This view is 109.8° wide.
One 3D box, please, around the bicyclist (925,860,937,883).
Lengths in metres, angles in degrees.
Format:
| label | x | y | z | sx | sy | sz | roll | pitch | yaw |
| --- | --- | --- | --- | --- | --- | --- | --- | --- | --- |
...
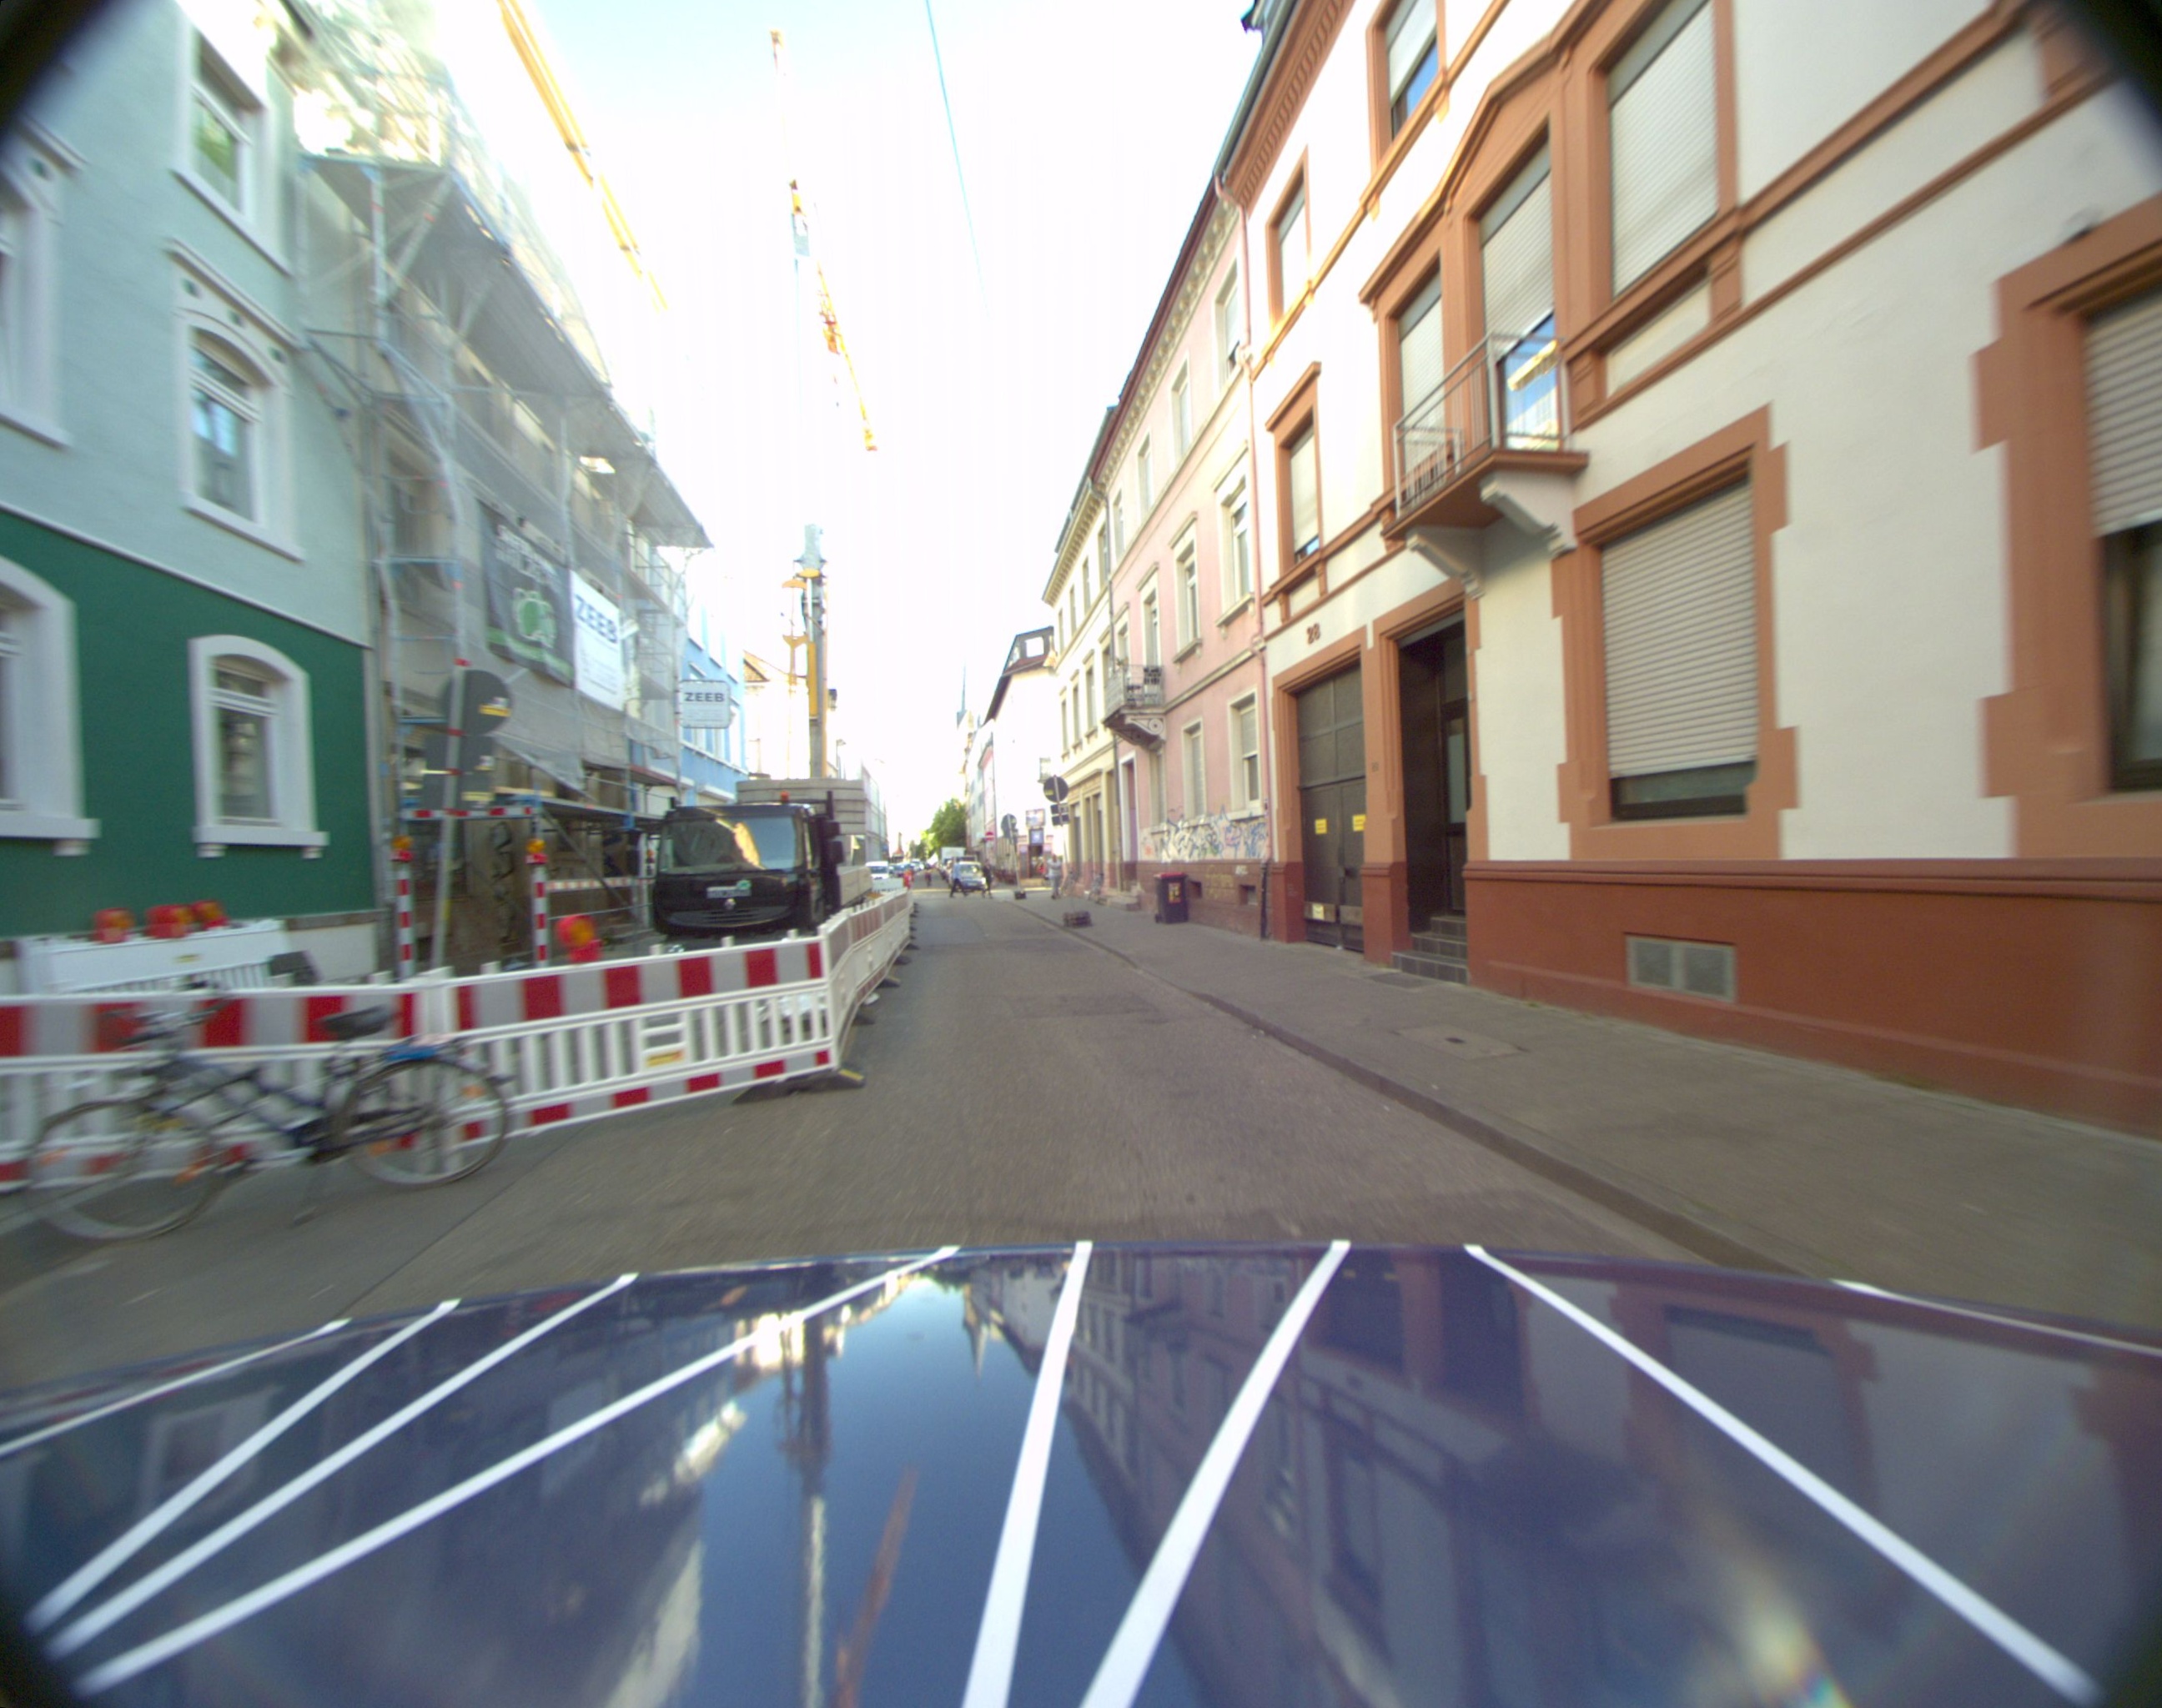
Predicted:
| label | x | y | z | sx | sy | sz | roll | pitch | yaw |
| --- | --- | --- | --- | --- | --- | --- | --- | --- | --- |
| bicyclist | -9.867 | 1.134 | 49.969 | 0.710 | 1.427 | 0.789 | -2 | 1 | -9 |

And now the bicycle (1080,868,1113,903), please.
| label | x | y | z | sx | sy | sz | roll | pitch | yaw |
| --- | --- | --- | --- | --- | --- | --- | --- | --- | --- |
| bicycle | 0.471 | 0.982 | 24.174 | 0.624 | 1.016 | 1.816 | -3 | 0 | -10 |

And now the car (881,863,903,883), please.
| label | x | y | z | sx | sy | sz | roll | pitch | yaw |
| --- | --- | --- | --- | --- | --- | --- | --- | --- | --- |
| car | -15.972 | 1.586 | 64.256 | 1.622 | 1.495 | 3.768 | -1 | 0 | -11 |

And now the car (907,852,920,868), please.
| label | x | y | z | sx | sy | sz | roll | pitch | yaw |
| --- | --- | --- | --- | --- | --- | --- | --- | --- | --- |
| car | -31.013 | 1.093 | 140.798 | 2.001 | 2.777 | 4.558 | -4 | 1 | -14 |

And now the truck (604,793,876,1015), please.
| label | x | y | z | sx | sy | sz | roll | pitch | yaw |
| --- | --- | --- | --- | --- | --- | --- | --- | --- | --- |
| truck | -5.499 | 0.629 | 13.826 | 2.670 | 2.798 | 7.386 | -3 | 1 | -10 |

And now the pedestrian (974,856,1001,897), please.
| label | x | y | z | sx | sy | sz | roll | pitch | yaw |
| --- | --- | --- | --- | --- | --- | --- | --- | --- | --- |
| pedestrian | -4.178 | 1.005 | 33.855 | 0.830 | 1.782 | 0.987 | 0 | 1 | -36 |

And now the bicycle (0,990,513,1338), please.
| label | x | y | z | sx | sy | sz | roll | pitch | yaw |
| --- | --- | --- | --- | --- | --- | --- | --- | --- | --- |
| bicycle | -3.848 | 1.322 | 3.450 | 1.856 | 1.104 | 0.643 | -4 | 1 | -18 |

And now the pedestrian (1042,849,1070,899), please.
| label | x | y | z | sx | sy | sz | roll | pitch | yaw |
| --- | --- | --- | --- | --- | --- | --- | --- | --- | --- |
| pedestrian | -0.916 | 0.710 | 27.295 | 0.696 | 1.691 | 0.864 | -7 | -1 | -11 |

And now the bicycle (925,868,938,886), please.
| label | x | y | z | sx | sy | sz | roll | pitch | yaw |
| --- | --- | --- | --- | --- | --- | --- | --- | --- | --- |
| bicycle | -9.847 | 1.511 | 50.027 | 0.710 | 1.105 | 1.933 | -2 | 0 | -9 |

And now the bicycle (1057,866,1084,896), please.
| label | x | y | z | sx | sy | sz | roll | pitch | yaw |
| --- | --- | --- | --- | --- | --- | --- | --- | --- | --- |
| bicycle | -0.403 | 1.003 | 28.690 | 0.605 | 1.016 | 1.817 | -6 | 0 | -10 |

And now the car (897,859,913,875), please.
| label | x | y | z | sx | sy | sz | roll | pitch | yaw |
| --- | --- | --- | --- | --- | --- | --- | --- | --- | --- |
| car | -20.943 | 1.536 | 90.732 | 1.715 | 1.721 | 4.216 | -1 | 0 | -11 |

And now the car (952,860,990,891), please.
| label | x | y | z | sx | sy | sz | roll | pitch | yaw |
| --- | --- | --- | --- | --- | --- | --- | --- | --- | --- |
| car | -6.006 | 1.140 | 41.140 | 1.728 | 1.596 | 4.162 | -1 | -1 | -13 |

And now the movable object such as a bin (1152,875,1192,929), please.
| label | x | y | z | sx | sy | sz | roll | pitch | yaw |
| --- | --- | --- | --- | --- | --- | --- | --- | --- | --- |
| movable object such as a bin | 1.852 | 0.971 | 15.507 | 0.607 | 1.029 | 0.595 | -4 | 1 | -12 |

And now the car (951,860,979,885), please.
| label | x | y | z | sx | sy | sz | roll | pitch | yaw |
| --- | --- | --- | --- | --- | --- | --- | --- | --- | --- |
| car | -7.861 | 1.216 | 51.200 | 1.682 | 1.545 | 3.814 | -1 | 0 | -11 |

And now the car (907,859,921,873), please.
| label | x | y | z | sx | sy | sz | roll | pitch | yaw |
| --- | --- | --- | --- | --- | --- | --- | --- | --- | --- |
| car | -27.191 | 1.944 | 123.855 | 2.001 | 2.002 | 4.558 | -4 | 1 | -14 |

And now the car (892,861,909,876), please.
| label | x | y | z | sx | sy | sz | roll | pitch | yaw |
| --- | --- | --- | --- | --- | --- | --- | --- | --- | --- |
| car | -18.734 | 1.486 | 78.896 | 1.614 | 1.387 | 3.877 | -1 | 0 | -11 |

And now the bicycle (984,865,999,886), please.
| label | x | y | z | sx | sy | sz | roll | pitch | yaw |
| --- | --- | --- | --- | --- | --- | --- | --- | --- | --- |
| bicycle | -5.294 | 1.263 | 45.100 | 0.578 | 1.132 | 1.459 | -4 | 1 | -16 |

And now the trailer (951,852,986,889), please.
| label | x | y | z | sx | sy | sz | roll | pitch | yaw |
| --- | --- | --- | --- | --- | --- | --- | --- | --- | --- |
| trailer | -6.750 | 0.947 | 45.373 | 1.668 | 2.049 | 4.358 | -1 | 0 | -13 |

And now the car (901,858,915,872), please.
| label | x | y | z | sx | sy | sz | roll | pitch | yaw |
| --- | --- | --- | --- | --- | --- | --- | --- | --- | --- |
| car | -23.313 | 1.500 | 102.624 | 1.715 | 1.801 | 4.216 | -1 | 0 | -11 |

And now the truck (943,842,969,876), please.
| label | x | y | z | sx | sy | sz | roll | pitch | yaw |
| --- | --- | --- | --- | --- | --- | --- | --- | --- | --- |
| truck | -12.422 | 0.469 | 75.326 | 2.298 | 3.165 | 7.038 | -1 | 0 | -10 |

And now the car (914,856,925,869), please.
| label | x | y | z | sx | sy | sz | roll | pitch | yaw |
| --- | --- | --- | --- | --- | --- | --- | --- | --- | --- |
| car | -35.455 | 1.805 | 166.647 | 2.001 | 2.777 | 4.558 | -4 | 1 | -14 |

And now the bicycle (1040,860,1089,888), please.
| label | x | y | z | sx | sy | sz | roll | pitch | yaw |
| --- | --- | --- | --- | --- | --- | --- | --- | --- | --- |
| bicycle | -0.904 | 1.071 | 40.999 | 2.484 | 1.351 | 0.927 | -2 | 1 | -10 |

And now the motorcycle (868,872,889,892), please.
| label | x | y | z | sx | sy | sz | roll | pitch | yaw |
| --- | --- | --- | --- | --- | --- | --- | --- | --- | --- |
| motorcycle | -11.975 | 1.668 | 45.056 | 0.720 | 1.080 | 1.996 | 0 | 1 | 0 |

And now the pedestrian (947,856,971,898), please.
| label | x | y | z | sx | sy | sz | roll | pitch | yaw |
| --- | --- | --- | --- | --- | --- | --- | --- | --- | --- |
| pedestrian | -5.473 | 1.020 | 34.101 | 0.771 | 1.839 | 0.780 | -3 | 1 | 9 |

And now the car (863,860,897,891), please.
| label | x | y | z | sx | sy | sz | roll | pitch | yaw |
| --- | --- | --- | --- | --- | --- | --- | --- | --- | --- |
| car | -12.709 | 1.335 | 48.278 | 1.754 | 1.806 | 4.365 | -1 | 0 | -11 |

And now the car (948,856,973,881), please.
| label | x | y | z | sx | sy | sz | roll | pitch | yaw |
| --- | --- | --- | --- | --- | --- | --- | --- | --- | --- |
| car | -9.750 | 1.131 | 61.259 | 1.808 | 1.834 | 4.239 | -1 | 0 | -11 |

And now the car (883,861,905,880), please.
| label | x | y | z | sx | sy | sz | roll | pitch | yaw |
| --- | --- | --- | --- | --- | --- | --- | --- | --- | --- |
| car | -17.566 | 1.521 | 71.498 | 1.715 | 1.721 | 4.403 | -1 | 0 | -11 |
